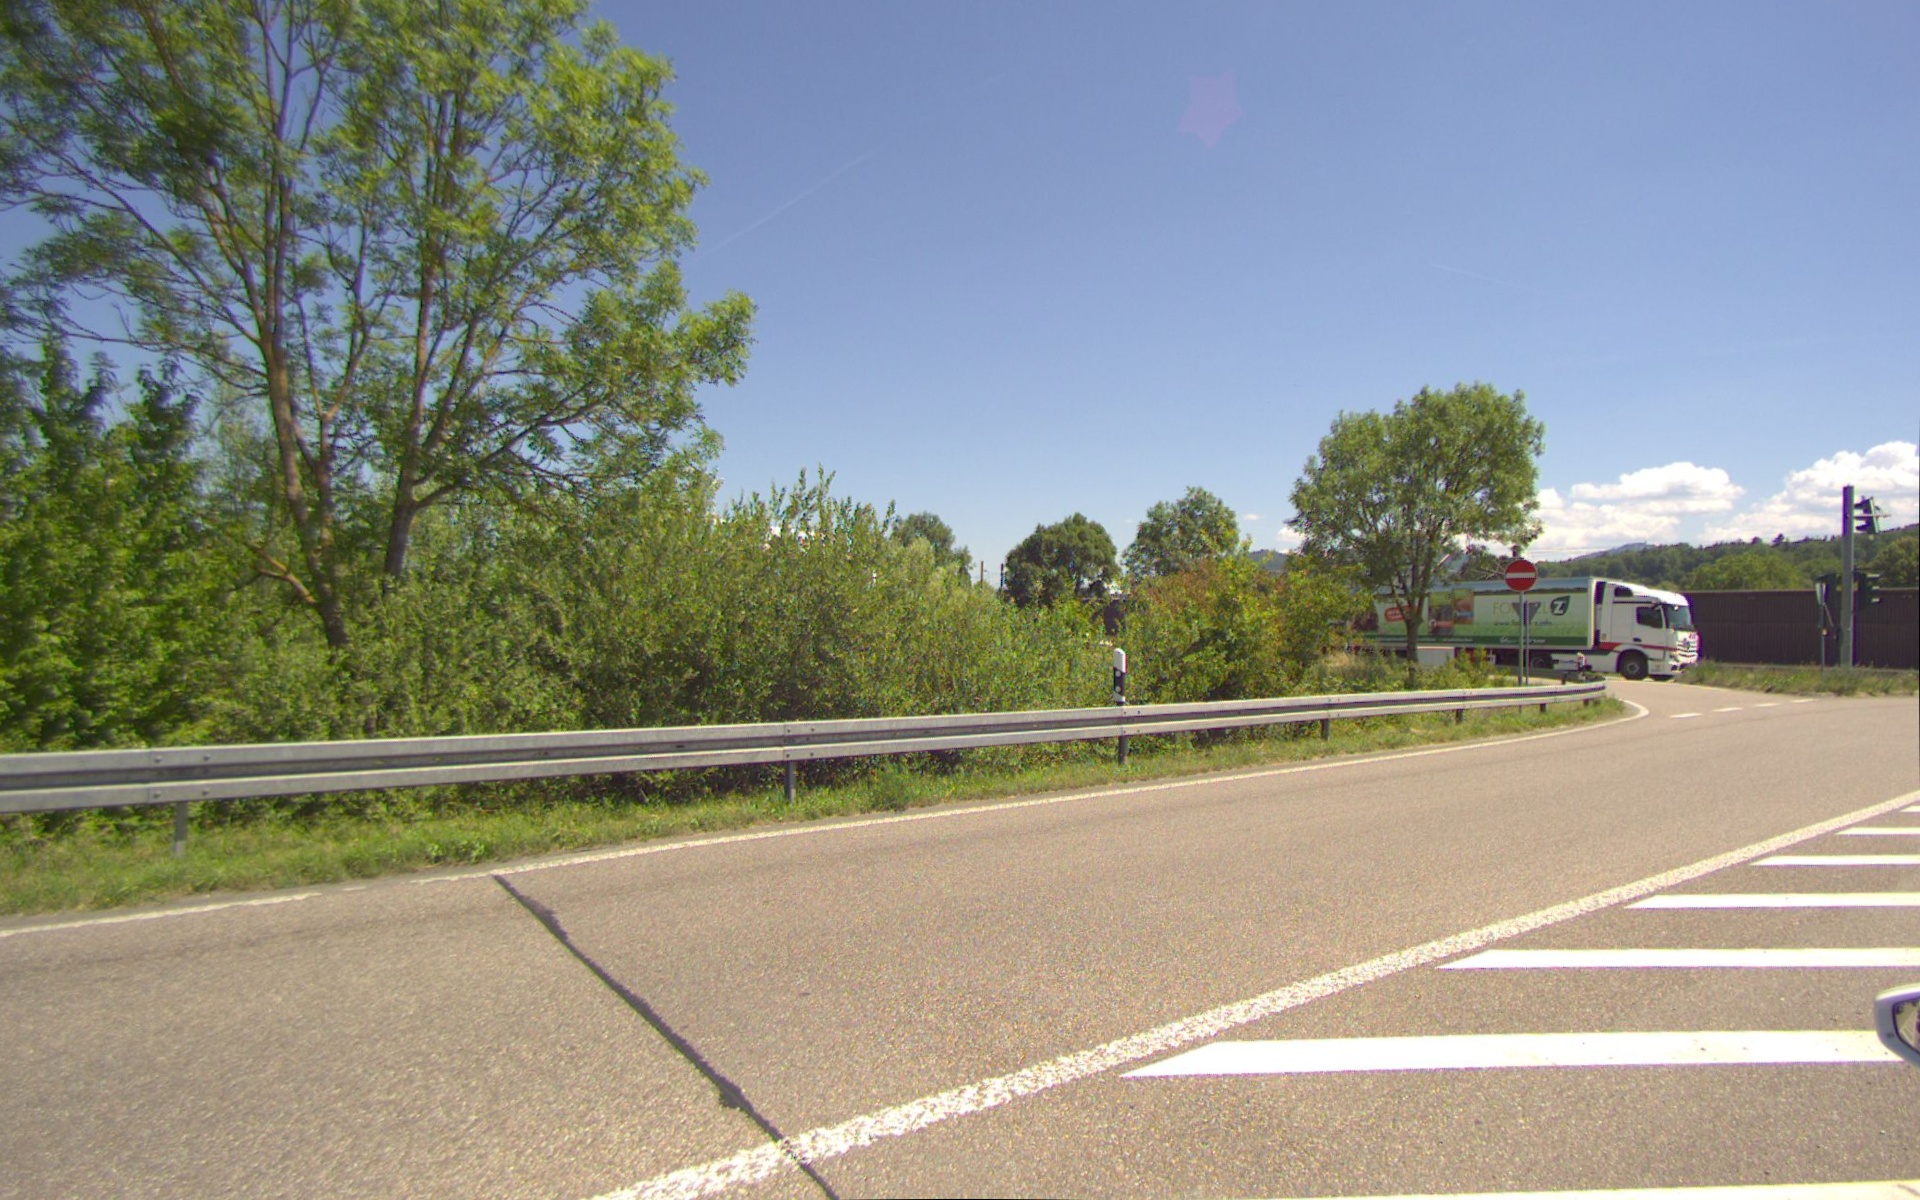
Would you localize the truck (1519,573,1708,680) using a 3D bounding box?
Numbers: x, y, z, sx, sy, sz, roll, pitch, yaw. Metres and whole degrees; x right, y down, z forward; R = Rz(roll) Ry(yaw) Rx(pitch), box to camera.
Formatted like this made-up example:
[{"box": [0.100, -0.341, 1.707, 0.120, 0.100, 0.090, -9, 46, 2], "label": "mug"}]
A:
[{"box": [26.498, 1.049, 40.973, 3.027, 4.007, 5.736, 2, -1, -31], "label": "truck"}]

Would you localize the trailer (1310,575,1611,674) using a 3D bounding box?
[{"box": [22.802, 1.060, 47.206, 3.027, 4.007, 13.074, 2, -1, -31], "label": "trailer"}]

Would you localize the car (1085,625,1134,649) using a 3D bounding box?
[{"box": [10.338, 2.552, 69.688, 1.537, 1.484, 3.455, 2, -1, -31], "label": "car"}]
